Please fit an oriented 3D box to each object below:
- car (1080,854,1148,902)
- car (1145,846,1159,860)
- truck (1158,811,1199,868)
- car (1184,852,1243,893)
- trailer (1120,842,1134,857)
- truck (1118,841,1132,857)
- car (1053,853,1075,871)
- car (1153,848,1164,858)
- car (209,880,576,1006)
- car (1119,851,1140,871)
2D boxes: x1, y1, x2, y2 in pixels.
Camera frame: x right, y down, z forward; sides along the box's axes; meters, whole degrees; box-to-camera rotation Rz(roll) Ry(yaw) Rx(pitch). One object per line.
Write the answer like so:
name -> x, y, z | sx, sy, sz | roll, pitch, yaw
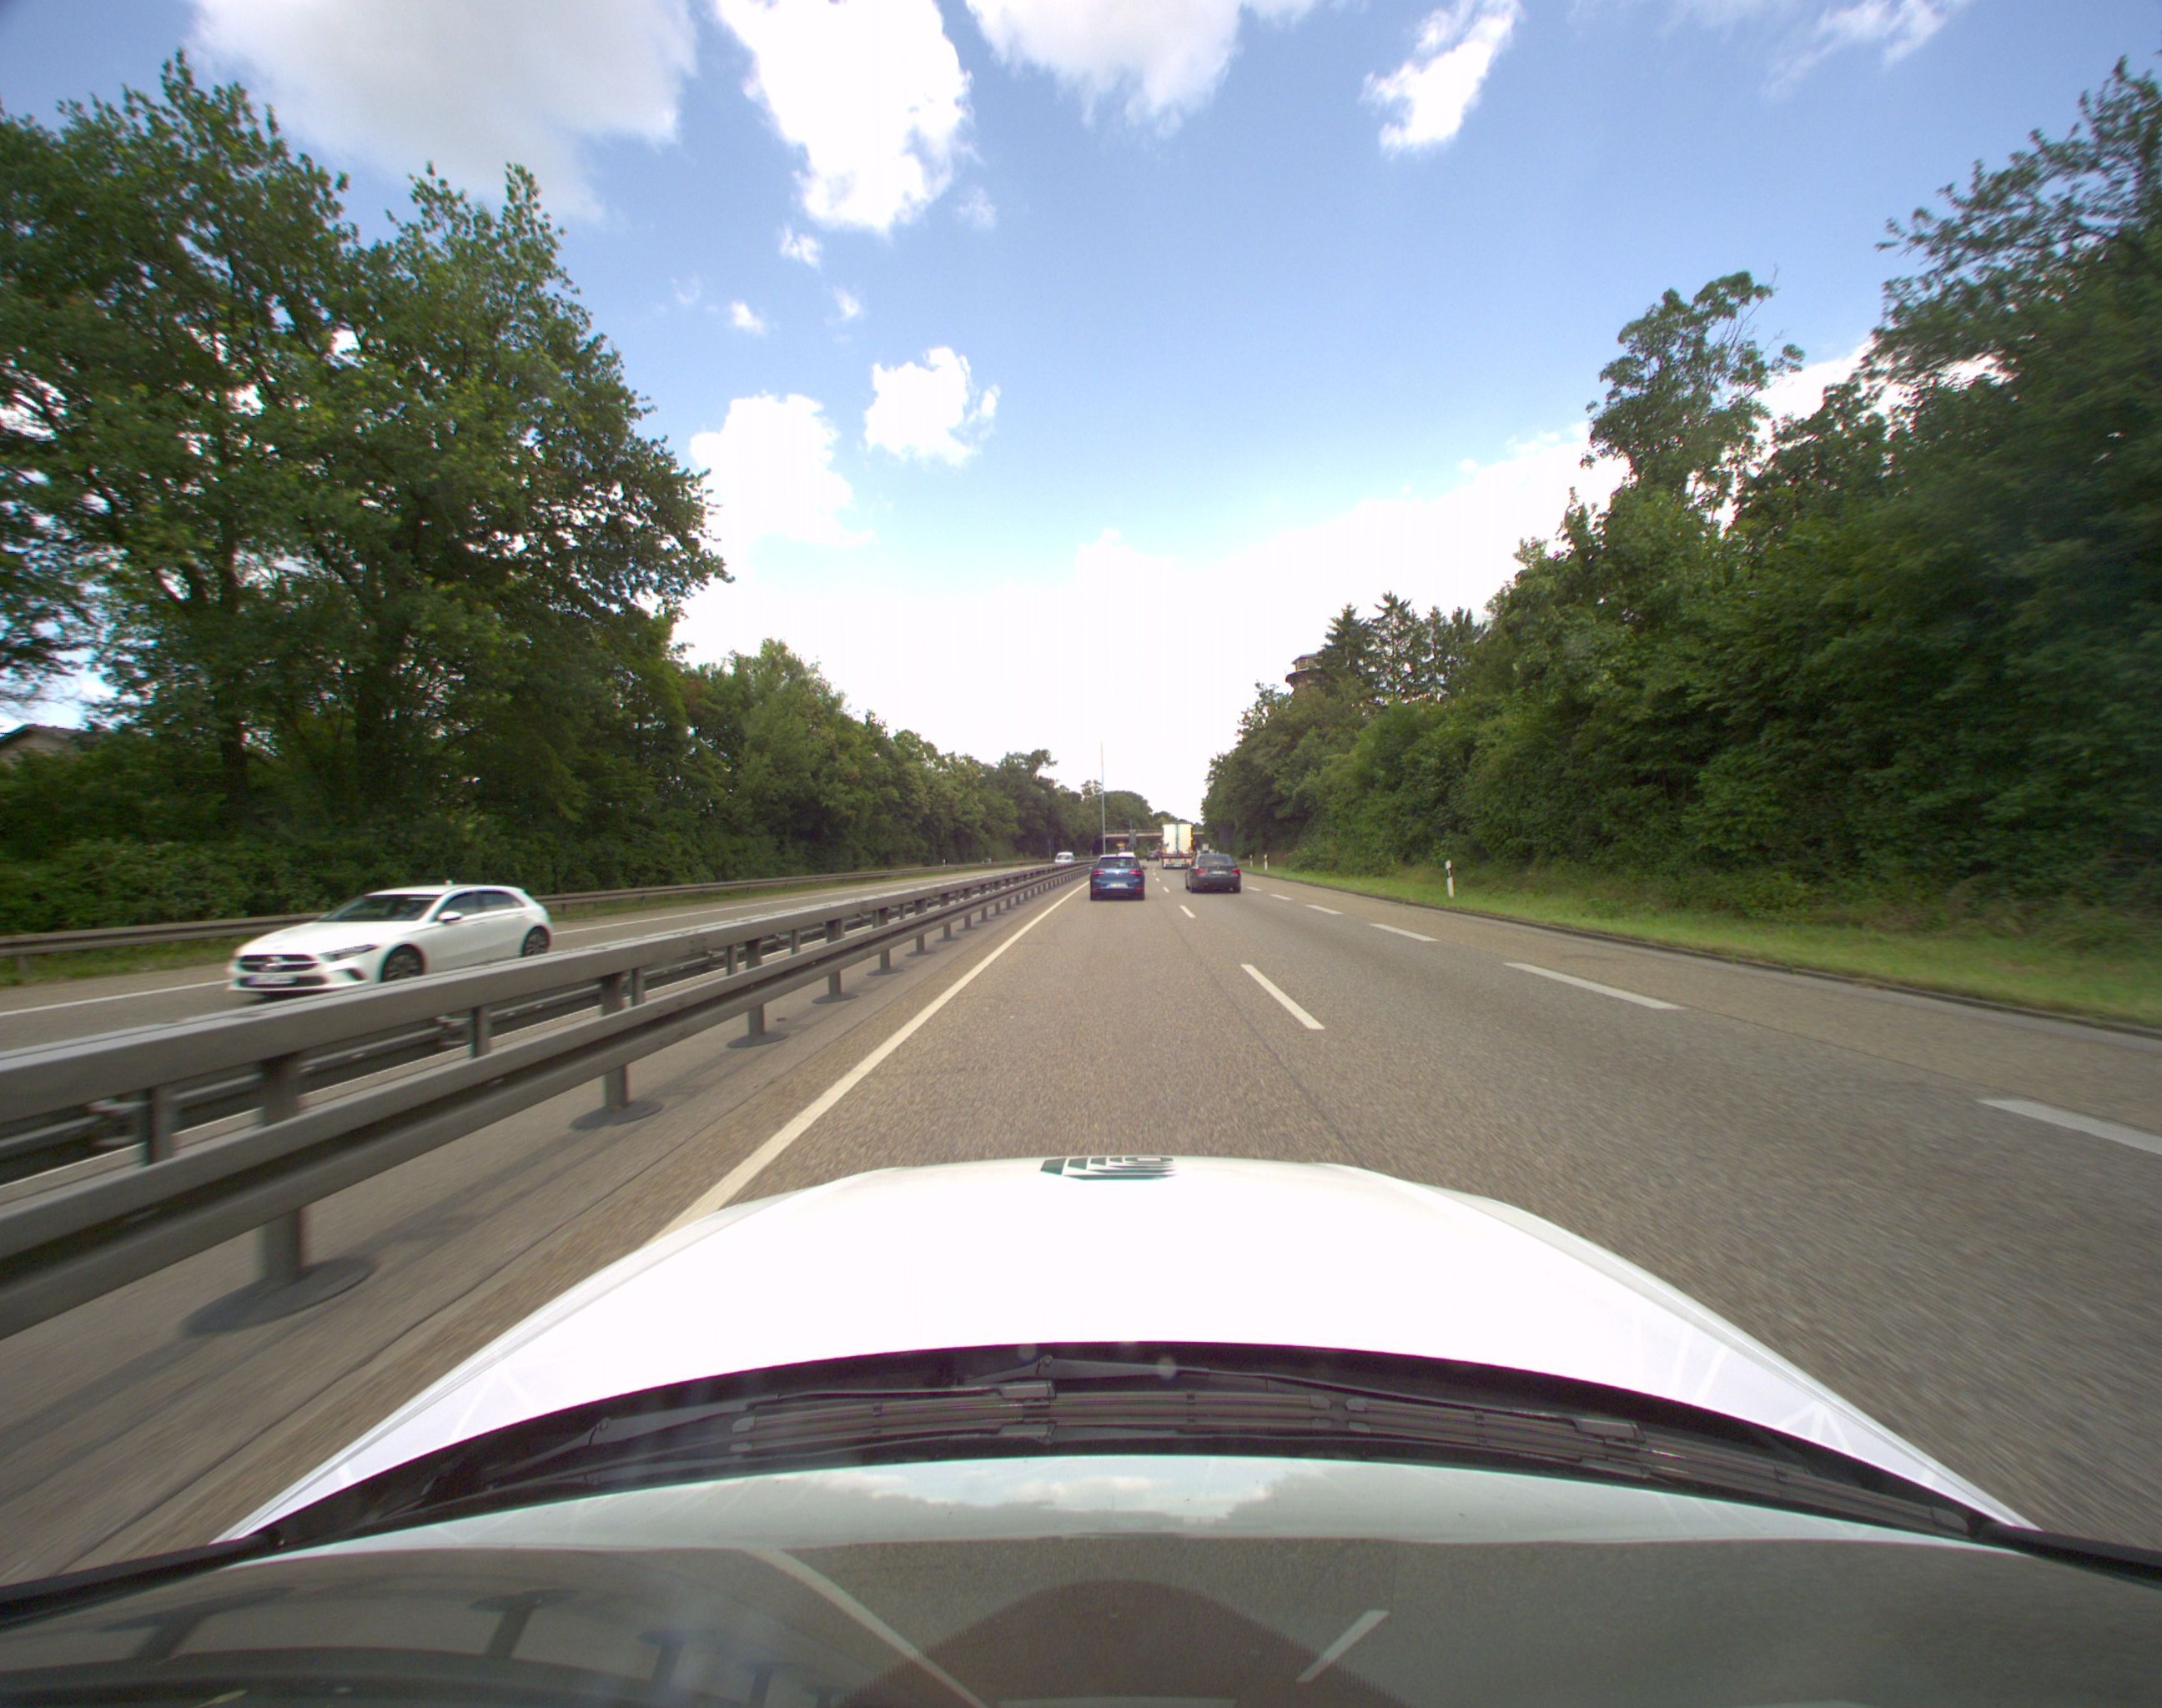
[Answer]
car -> 1.171, 0.732, 26.880 | 1.694, 1.470, 4.011 | 0, 0, 10
car -> 10.981, -0.173, 125.898 | 1.944, 2.013, 4.007 | -2, 0, 6
truck -> 8.802, -1.214, 73.820 | 3.225, 4.716, 11.027 | -2, 0, 6
car -> 5.015, 0.648, 31.342 | 1.767, 1.475, 4.884 | 0, 0, 3
trailer -> 12.108, -1.156, 213.510 | 2.923, 3.833, 10.327 | -2, 0, 6
truck -> 11.010, -1.176, 203.190 | 2.940, 3.855, 10.342 | -2, 0, 6
car -> -1.764, 0.780, 87.342 | 1.836, 1.818, 5.484 | -2, 0, 4
car -> 14.415, -0.185, 152.076 | 1.756, 1.772, 4.033 | -2, 0, 8
car -> -10.092, 1.186, 12.537 | 1.671, 1.431, 4.553 | 0, 0, 2
car -> 3.919, 0.543, 65.447 | 1.658, 1.500, 4.156 | 0, 0, 4
